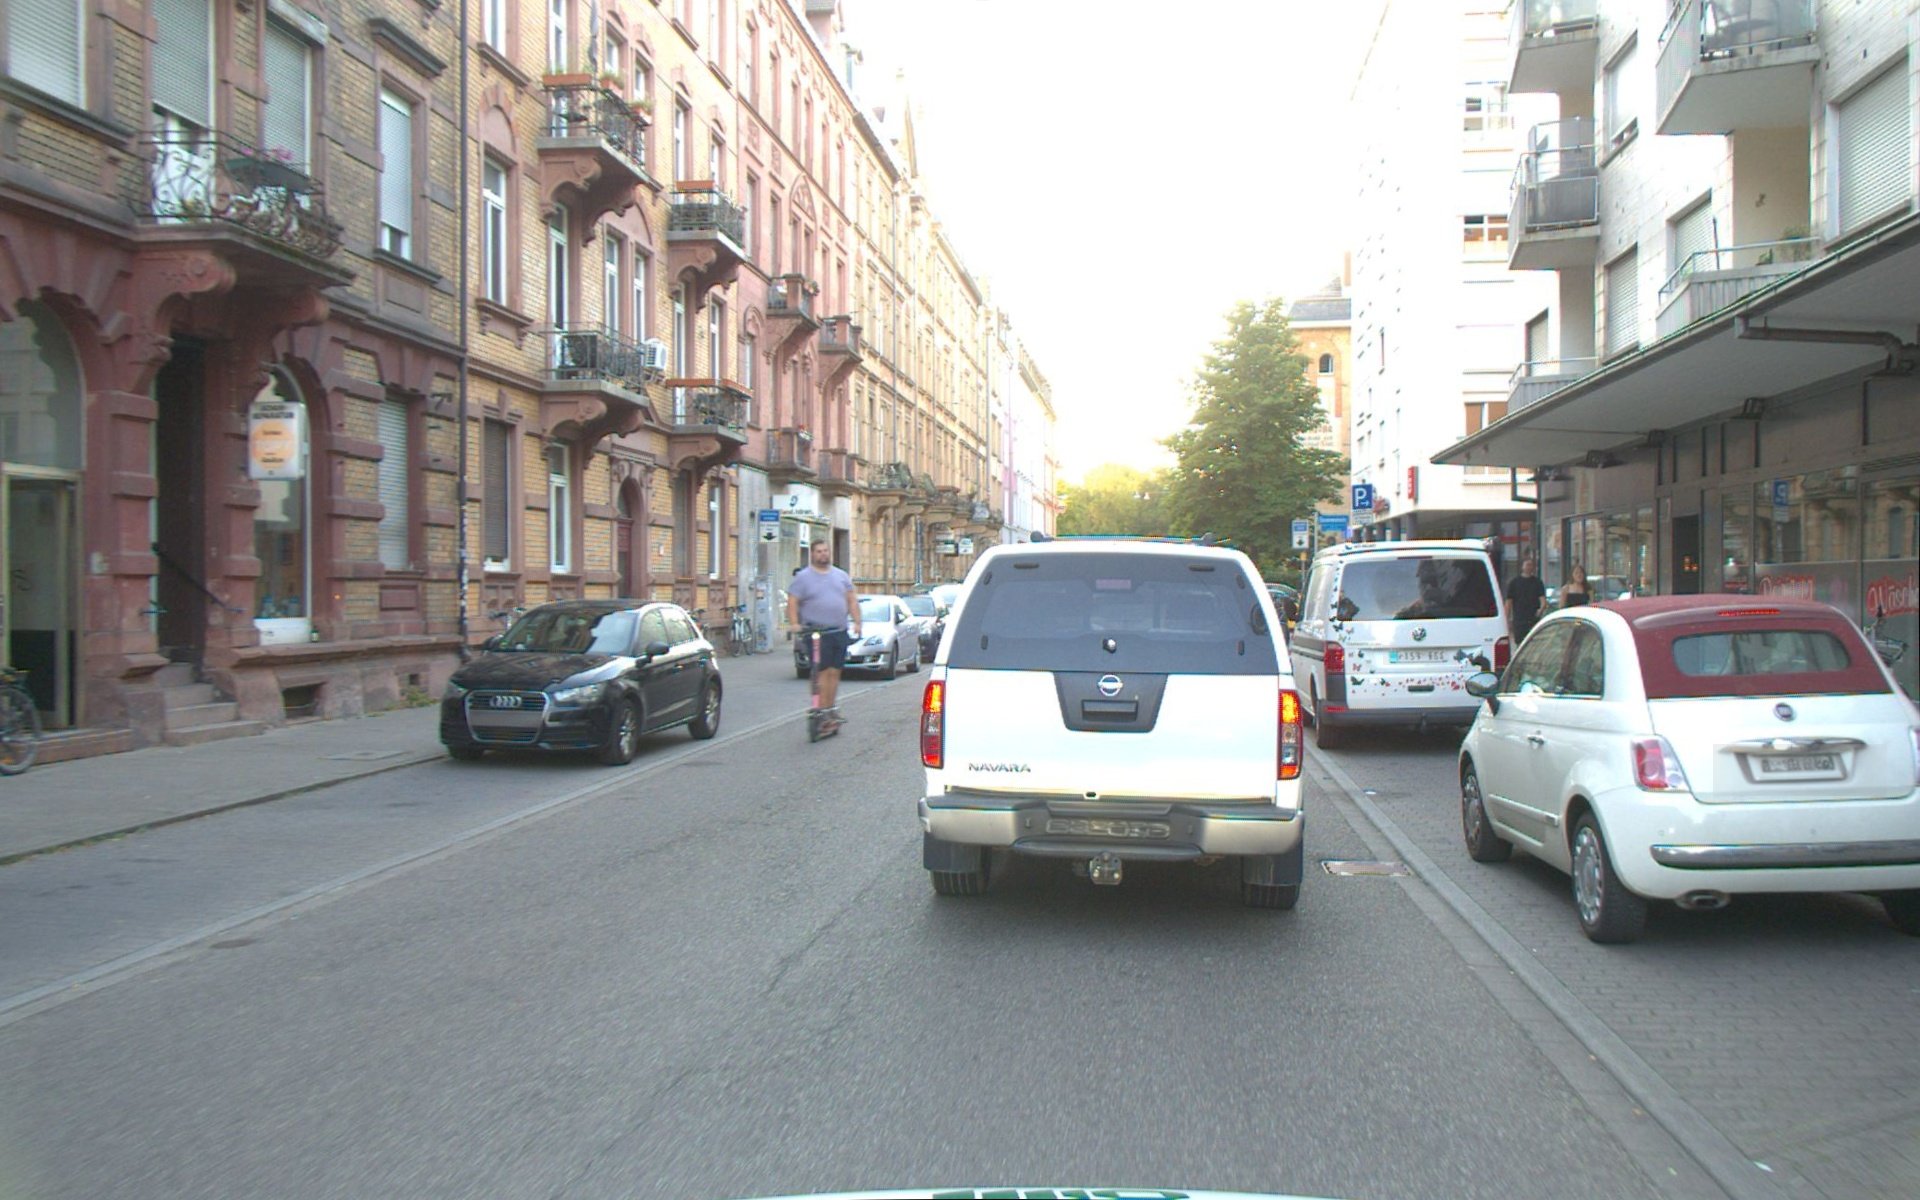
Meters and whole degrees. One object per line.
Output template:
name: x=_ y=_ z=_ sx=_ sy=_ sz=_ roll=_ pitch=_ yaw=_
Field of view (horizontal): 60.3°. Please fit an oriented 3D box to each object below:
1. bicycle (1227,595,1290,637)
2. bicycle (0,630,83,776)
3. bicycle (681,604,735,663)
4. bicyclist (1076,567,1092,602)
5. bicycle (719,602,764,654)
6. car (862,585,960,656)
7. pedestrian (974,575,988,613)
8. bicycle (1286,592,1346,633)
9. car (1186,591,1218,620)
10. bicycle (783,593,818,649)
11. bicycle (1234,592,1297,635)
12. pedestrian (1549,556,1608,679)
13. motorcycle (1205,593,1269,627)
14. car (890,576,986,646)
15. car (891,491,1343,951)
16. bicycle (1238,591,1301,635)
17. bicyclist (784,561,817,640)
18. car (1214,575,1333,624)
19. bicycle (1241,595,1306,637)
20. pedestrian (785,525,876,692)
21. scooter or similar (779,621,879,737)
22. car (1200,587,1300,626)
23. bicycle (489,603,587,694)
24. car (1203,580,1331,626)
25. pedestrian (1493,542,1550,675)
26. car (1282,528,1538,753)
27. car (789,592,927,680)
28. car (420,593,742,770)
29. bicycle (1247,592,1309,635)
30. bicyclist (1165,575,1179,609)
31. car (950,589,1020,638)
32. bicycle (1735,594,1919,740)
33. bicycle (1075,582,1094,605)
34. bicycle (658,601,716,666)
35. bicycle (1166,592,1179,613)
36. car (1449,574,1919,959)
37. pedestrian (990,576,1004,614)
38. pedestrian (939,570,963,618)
bicycle: x=8.631 y=0.458 z=47.840 sx=1.686 sy=1.137 sz=0.707 roll=-2 pitch=-1 yaw=5
bicycle: x=-7.413 y=0.781 z=12.378 sx=0.416 sy=1.071 sz=1.900 roll=0 pitch=0 yaw=10
bicycle: x=-4.891 y=0.641 z=32.198 sx=0.537 sy=1.055 sz=1.761 roll=2 pitch=1 yaw=7
bicyclist: x=6.043 y=-0.753 z=80.429 sx=0.632 sy=1.649 sz=0.918 roll=-2 pitch=0 yaw=-3
bicycle: x=-4.688 y=0.588 z=35.545 sx=0.440 sy=1.040 sz=1.849 roll=3 pitch=1 yaw=7
car: x=-1.018 y=0.419 z=36.277 sx=1.551 sy=1.445 sz=3.699 roll=1 pitch=1 yaw=8
pedestrian: x=1.027 y=-0.291 z=80.440 sx=0.568 sy=1.802 sz=0.998 roll=2 pitch=1 yaw=3
bicycle: x=10.585 y=0.367 z=49.179 sx=1.685 sy=1.137 sz=0.654 roll=-2 pitch=-1 yaw=10
car: x=13.604 y=0.301 z=93.240 sx=1.641 sy=1.453 sz=4.482 roll=-4 pitch=0 yaw=8
bicycle: x=-3.597 y=0.475 z=37.247 sx=0.695 sy=1.217 sz=1.738 roll=1 pitch=-1 yaw=-8
bicycle: x=9.521 y=0.410 z=51.556 sx=1.829 sy=1.202 sz=0.743 roll=-4 pitch=-1 yaw=12
pedestrian: x=8.744 y=0.254 z=23.411 sx=0.693 sy=1.695 sz=0.745 roll=-2 pitch=-1 yaw=18
motorcycle: x=9.483 y=0.345 z=56.657 sx=2.019 sy=1.097 sz=0.662 roll=-2 pitch=-1 yaw=-9
car: x=-0.498 y=0.230 z=41.806 sx=1.813 sy=1.662 sz=4.449 roll=1 pitch=1 yaw=7
car: x=1.031 y=0.472 z=9.545 sx=1.870 sy=1.885 sz=5.275 roll=1 pitch=0 yaw=8
bicycle: x=9.484 y=0.399 z=50.711 sx=1.751 sy=1.202 sz=0.734 roll=-4 pitch=-1 yaw=18
bicyclist: x=-3.595 y=0.023 z=37.284 sx=0.695 sy=1.760 sz=0.841 roll=1 pitch=-1 yaw=-9
car: x=11.963 y=-0.015 z=63.274 sx=4.305 sy=1.676 sz=1.748 roll=-2 pitch=0 yaw=7
bicycle: x=9.205 y=0.464 z=48.564 sx=1.771 sy=1.137 sz=0.707 roll=-2 pitch=-1 yaw=5
pedestrian: x=-1.344 y=0.088 z=17.218 sx=0.790 sy=1.689 sz=0.673 roll=-1 pitch=0 yaw=7
scooter or similar: x=-1.344 y=0.797 z=17.127 sx=0.790 sy=1.123 sz=1.173 roll=-1 pitch=0 yaw=7
car: x=11.966 y=0.256 z=68.487 sx=3.903 sy=1.481 sz=1.829 roll=-2 pitch=0 yaw=5
bicycle: x=-5.938 y=0.657 z=23.409 sx=0.516 sy=1.191 sz=2.049 roll=2 pitch=1 yaw=10
car: x=11.219 y=0.095 z=60.579 sx=4.332 sy=1.480 sz=1.780 roll=-2 pitch=0 yaw=1
pedestrian: x=8.063 y=0.132 z=23.792 sx=0.693 sy=1.860 sz=0.861 roll=-2 pitch=-1 yaw=17
car: x=4.615 y=0.351 z=17.704 sx=1.917 sy=2.008 sz=5.006 roll=-2 pitch=0 yaw=7
car: x=-1.758 y=0.599 z=29.984 sx=1.686 sy=1.445 sz=4.585 roll=1 pitch=0 yaw=7
car: x=-3.482 y=0.675 z=15.947 sx=1.657 sy=1.445 sz=3.858 roll=1 pitch=1 yaw=10
bicycle: x=9.014 y=0.377 z=46.925 sx=1.685 sy=1.137 sz=0.707 roll=-2 pitch=-1 yaw=10
bicyclist: x=11.547 y=-0.438 z=90.065 sx=0.631 sy=1.791 sz=0.648 roll=-2 pitch=0 yaw=5
car: x=0.844 y=0.399 z=52.159 sx=1.721 sy=1.436 sz=4.512 roll=1 pitch=1 yaw=7
bicycle: x=8.022 y=0.581 z=15.125 sx=0.893 sy=1.216 sz=1.709 roll=-2 pitch=-1 yaw=-6
bicycle: x=6.059 y=-0.328 z=80.418 sx=0.632 sy=1.100 sz=2.167 roll=-2 pitch=0 yaw=-2
bicycle: x=-5.071 y=0.606 z=30.805 sx=0.537 sy=1.143 sz=1.761 roll=2 pitch=1 yaw=7
bicycle: x=11.550 y=0.135 z=89.975 sx=0.631 sy=1.100 sz=1.833 roll=-2 pitch=0 yaw=5
car: x=3.681 y=0.673 z=8.439 sx=1.559 sy=1.527 sz=3.425 roll=-2 pitch=0 yaw=5
pedestrian: x=1.818 y=-0.268 z=80.512 sx=0.592 sy=1.803 sz=0.777 roll=2 pitch=1 yaw=3
pedestrian: x=-0.325 y=-0.213 z=62.055 sx=0.543 sy=1.786 sz=1.022 roll=0 pitch=-1 yaw=23
